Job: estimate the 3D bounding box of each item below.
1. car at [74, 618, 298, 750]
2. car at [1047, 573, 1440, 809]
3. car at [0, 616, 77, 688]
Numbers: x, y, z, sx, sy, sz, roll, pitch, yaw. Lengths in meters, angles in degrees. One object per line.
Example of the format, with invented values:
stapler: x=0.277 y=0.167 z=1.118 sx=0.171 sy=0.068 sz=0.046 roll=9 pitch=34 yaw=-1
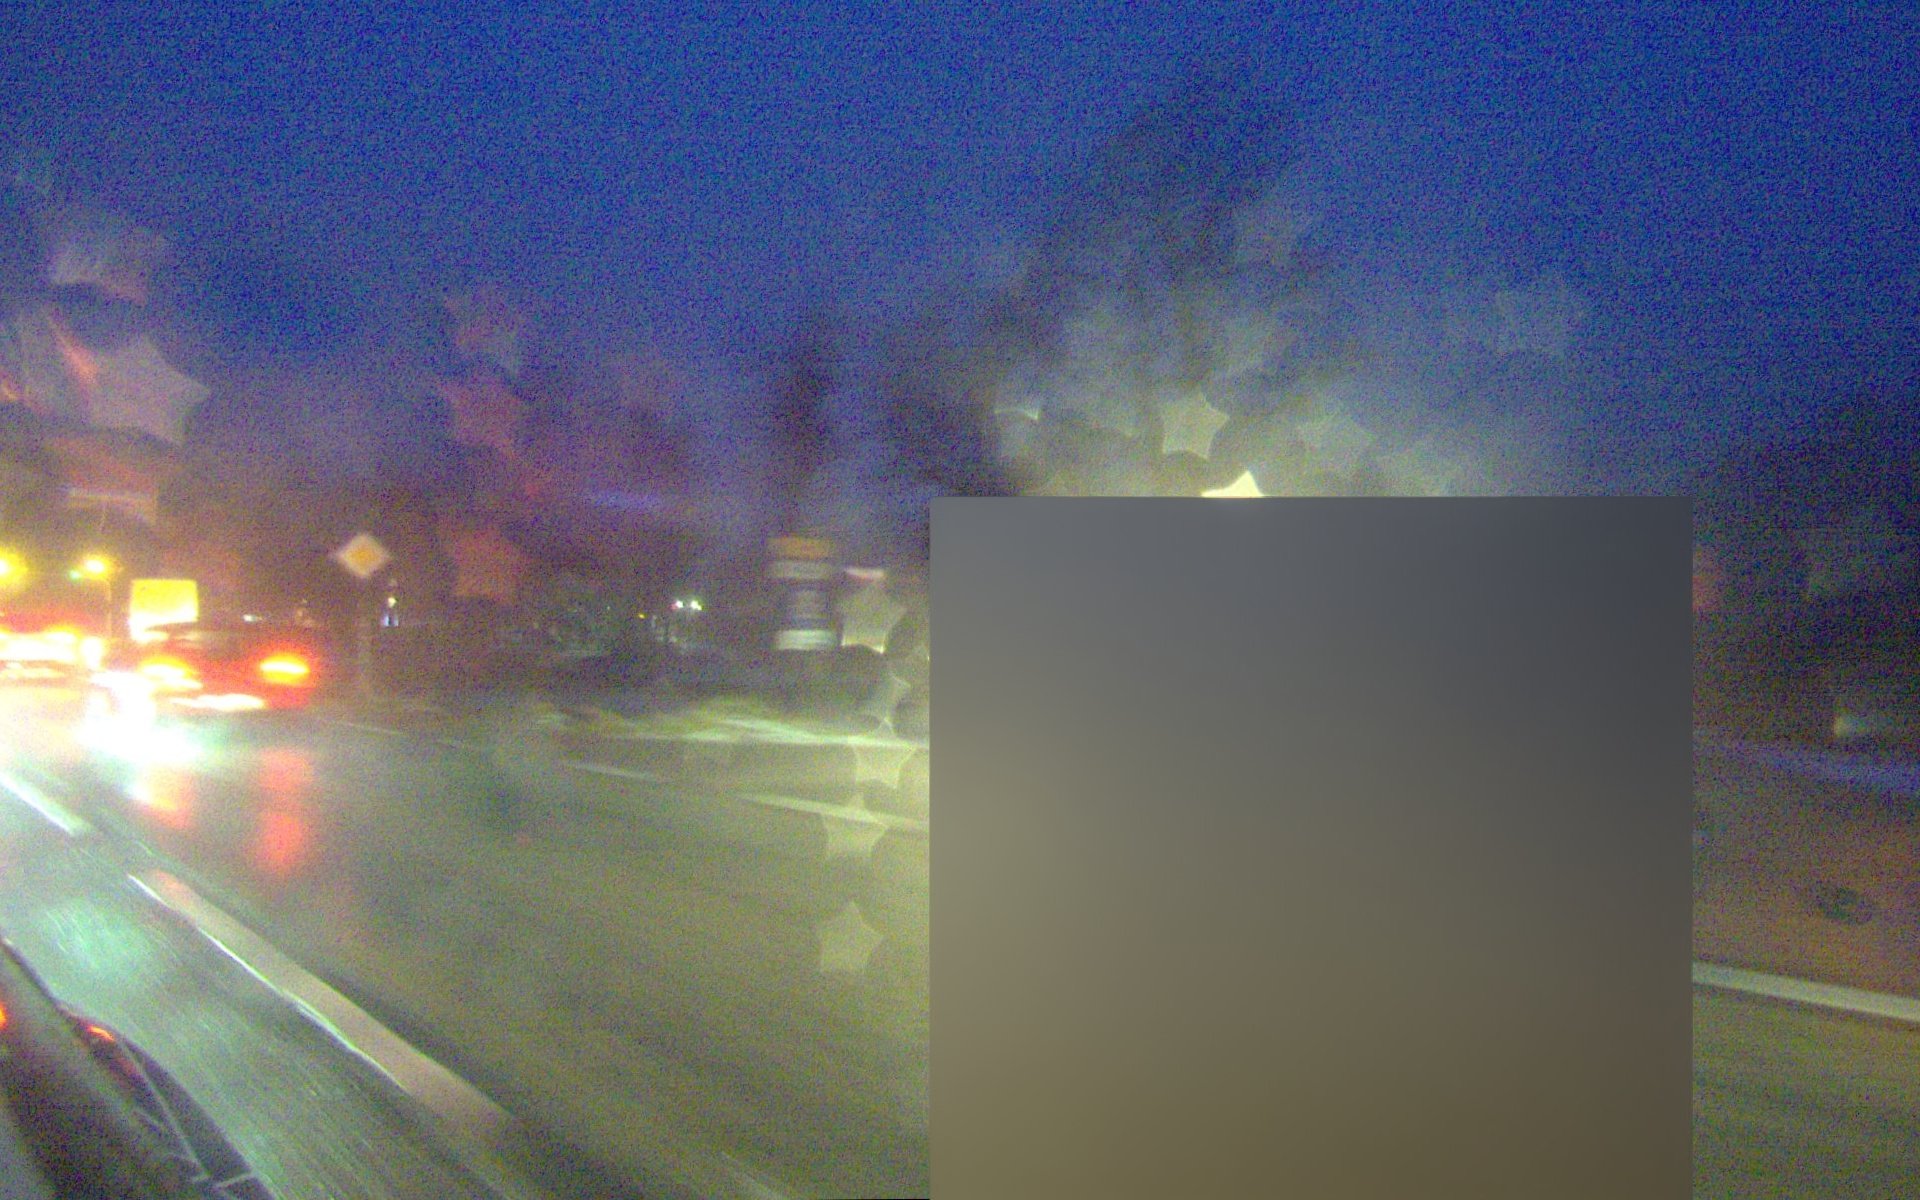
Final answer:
car: x=-9.804 y=0.943 z=12.735 sx=3.551 sy=1.435 sz=1.581 roll=-1 pitch=-2 yaw=41
car: x=3.145 y=0.833 z=10.413 sx=1.933 sy=1.852 sz=4.881 roll=-1 pitch=-3 yaw=42
car: x=-22.281 y=1.164 z=23.724 sx=4.188 sy=1.584 sz=1.784 roll=-1 pitch=-2 yaw=41
